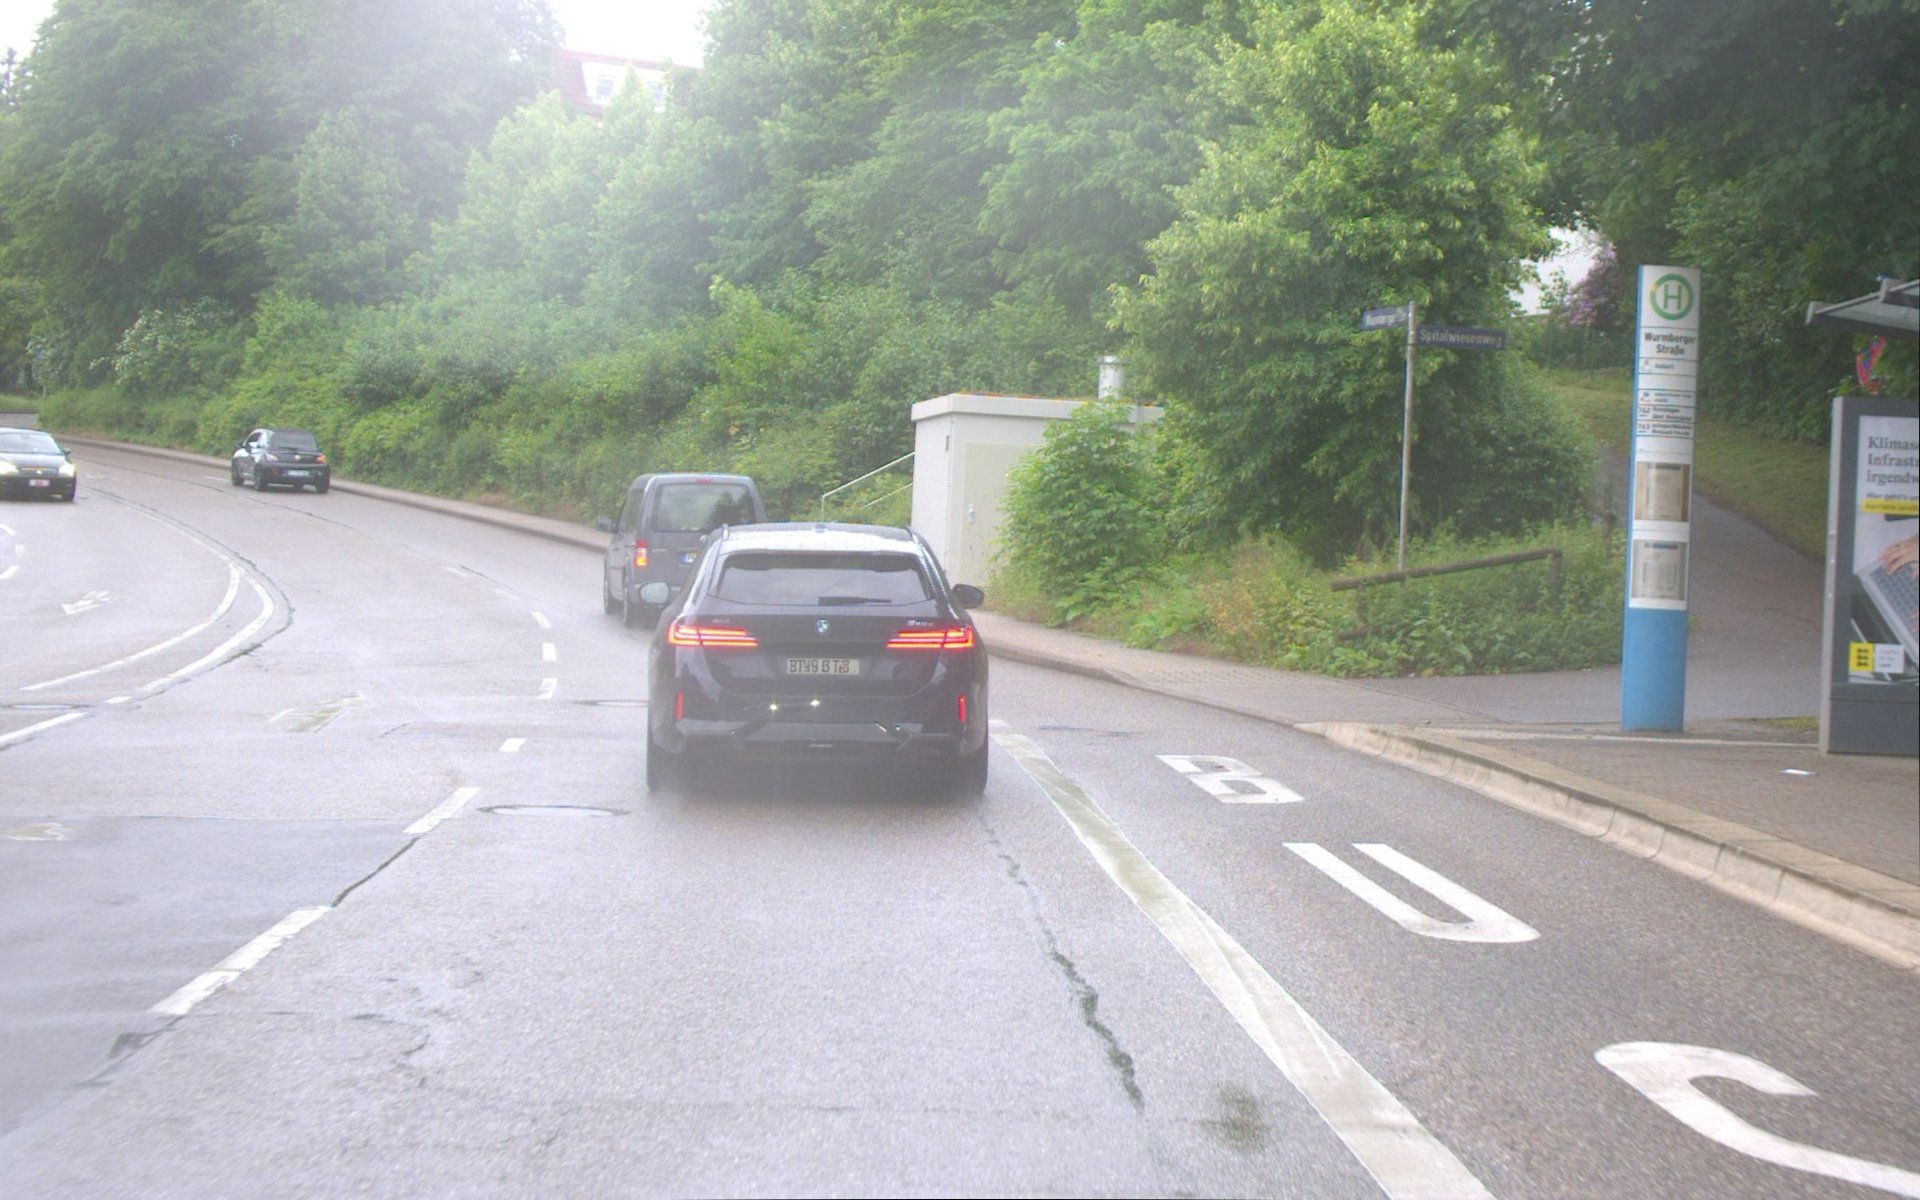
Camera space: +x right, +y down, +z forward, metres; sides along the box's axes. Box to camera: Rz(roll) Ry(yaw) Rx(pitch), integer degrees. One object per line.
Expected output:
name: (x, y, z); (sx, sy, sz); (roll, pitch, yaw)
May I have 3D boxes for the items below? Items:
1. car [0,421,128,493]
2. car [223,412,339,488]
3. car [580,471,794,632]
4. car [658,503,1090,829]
car: (-19.385, -3.066, 73.940); (1.892, 1.482, 4.235); (0, 2, -28)
car: (-16.178, -3.540, 81.788); (1.851, 1.656, 4.001); (2, 1, -24)
car: (-3.356, -0.625, 41.536); (1.993, 1.742, 4.002); (1, 3, -13)
car: (-0.645, 0.285, 20.262); (1.993, 1.580, 4.665); (2, 2, -8)
